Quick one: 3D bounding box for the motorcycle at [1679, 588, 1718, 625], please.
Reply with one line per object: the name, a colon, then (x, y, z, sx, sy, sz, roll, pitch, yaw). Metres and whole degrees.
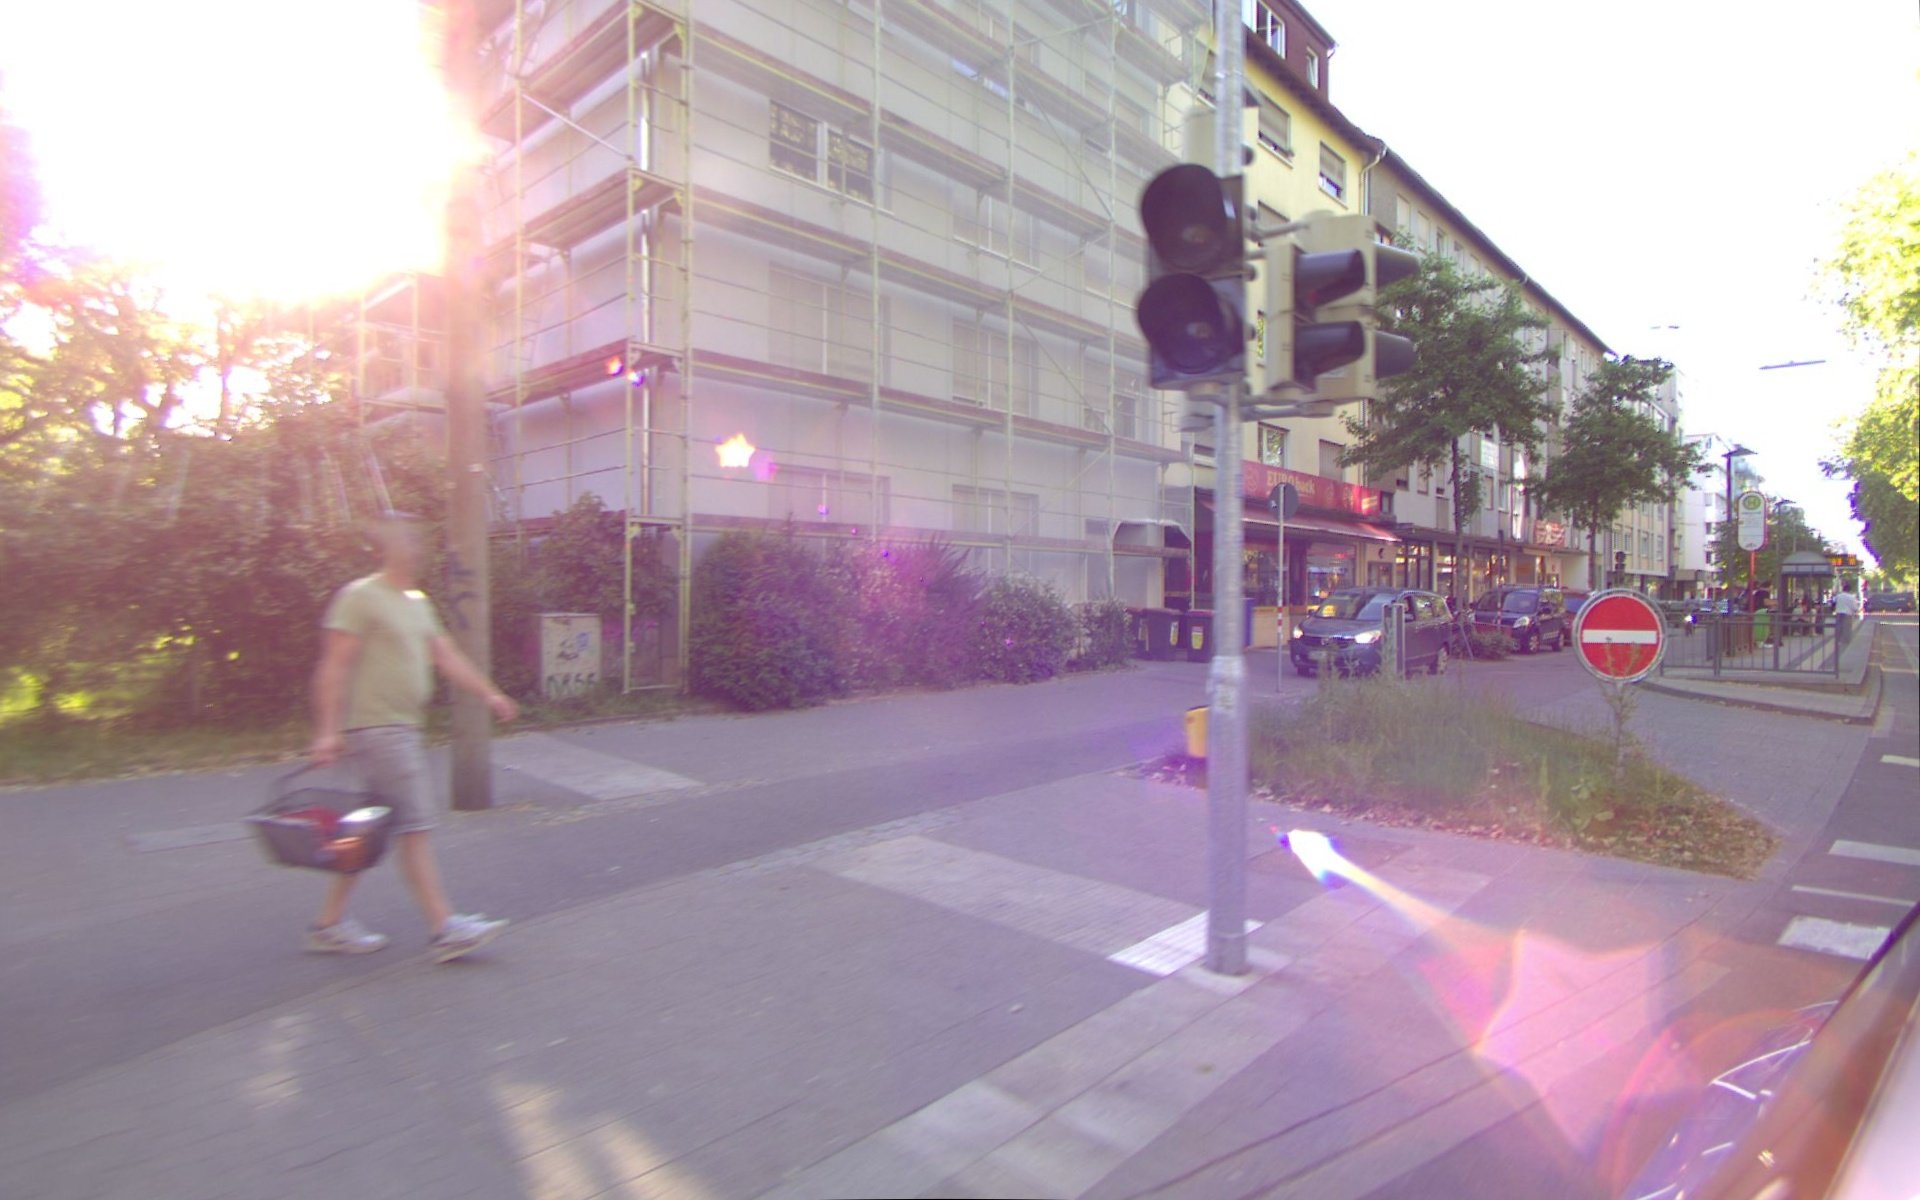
motorcycle: (30.460, 0.267, 41.719, 1.051, 1.473, 2.174, -1, 0, 43)

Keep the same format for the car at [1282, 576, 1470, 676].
car: (7.966, 0.432, 19.153, 1.763, 1.642, 4.370, 3, 2, 44)

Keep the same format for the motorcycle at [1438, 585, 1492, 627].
motorcycle: (17.654, 0.220, 35.338, 0.952, 1.332, 2.610, 7, 3, 41)

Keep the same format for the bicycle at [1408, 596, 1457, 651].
bicycle: (11.610, 0.554, 24.935, 0.675, 1.224, 2.201, 1, 2, 15)

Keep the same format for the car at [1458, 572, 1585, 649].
car: (15.824, 0.251, 28.455, 1.995, 1.919, 4.126, 5, 4, 45)

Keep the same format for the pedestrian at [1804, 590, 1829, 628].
pedestrian: (30.481, 0.322, 36.016, 0.582, 1.322, 0.521, -1, -1, 33)

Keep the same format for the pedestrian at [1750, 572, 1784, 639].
pedestrian: (21.889, 0.142, 27.464, 0.689, 1.792, 0.494, 0, -1, -32)

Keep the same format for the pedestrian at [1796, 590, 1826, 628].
pedestrian: (30.056, 0.324, 35.740, 0.716, 1.343, 0.487, -1, -1, 33)

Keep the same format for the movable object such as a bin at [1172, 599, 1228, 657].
movable object such as a bin: (4.939, 0.558, 20.816, 0.880, 1.124, 0.687, 2, 2, 41)

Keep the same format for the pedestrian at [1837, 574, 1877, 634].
pedestrian: (26.462, 0.108, 29.845, 0.834, 1.734, 0.630, -1, -1, 45)

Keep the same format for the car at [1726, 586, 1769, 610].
car: (54.104, -0.135, 69.512, 1.993, 1.601, 3.938, -1, 0, 43)

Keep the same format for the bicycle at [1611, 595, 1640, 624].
bicycle: (30.565, 0.437, 46.450, 0.770, 1.194, 2.744, 6, 3, 38)

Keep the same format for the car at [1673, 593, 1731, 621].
car: (41.906, 0.361, 57.116, 1.954, 1.502, 4.585, -2, -1, 45)

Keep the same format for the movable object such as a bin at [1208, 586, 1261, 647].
movable object such as a bin: (6.446, 0.369, 23.735, 0.923, 1.367, 0.812, 2, 1, 41)

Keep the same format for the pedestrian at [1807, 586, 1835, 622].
pedestrian: (37.940, 0.175, 44.604, 0.837, 1.596, 0.650, 0, -1, -29)

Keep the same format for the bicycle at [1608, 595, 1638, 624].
bicycle: (29.336, 0.433, 44.774, 0.770, 1.194, 2.744, 7, 3, 38)

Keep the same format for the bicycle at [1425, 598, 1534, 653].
bicycle: (12.866, 0.607, 25.115, 2.204, 1.224, 1.013, 3, 2, 44)

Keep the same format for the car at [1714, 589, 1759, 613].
car: (50.105, 0.072, 65.284, 1.893, 1.505, 3.938, -1, 0, 43)

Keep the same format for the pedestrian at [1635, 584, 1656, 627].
pedestrian: (29.779, 0.228, 43.967, 0.676, 1.827, 0.763, -1, 0, 37)

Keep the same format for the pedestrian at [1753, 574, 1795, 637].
pedestrian: (22.452, 0.152, 27.932, 0.842, 1.722, 0.684, -1, -1, 37)

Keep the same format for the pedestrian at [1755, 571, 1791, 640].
pedestrian: (21.492, 0.148, 26.753, 0.686, 1.777, 0.572, -1, -1, 37)

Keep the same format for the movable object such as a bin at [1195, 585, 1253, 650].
movable object such as a bin: (5.952, 0.378, 22.797, 0.998, 1.414, 0.812, 2, 1, 41)

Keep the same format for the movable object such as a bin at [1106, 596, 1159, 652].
movable object such as a bin: (3.648, 0.486, 21.413, 0.880, 1.124, 0.687, 2, 2, 41)

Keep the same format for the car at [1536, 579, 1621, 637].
car: (20.387, 0.246, 33.287, 1.687, 1.777, 4.111, -1, 0, 42)

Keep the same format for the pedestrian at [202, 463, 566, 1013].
pedestrian: (-2.318, 0.478, 4.151, 0.861, 1.909, 0.989, -1, -1, 26)

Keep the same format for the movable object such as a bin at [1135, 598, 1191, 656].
movable object such as a bin: (4.184, 0.540, 20.872, 0.880, 1.124, 0.687, 2, 2, 41)

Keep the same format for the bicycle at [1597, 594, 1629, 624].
bicycle: (28.216, 0.379, 43.705, 0.770, 1.194, 2.744, 7, 3, 38)
